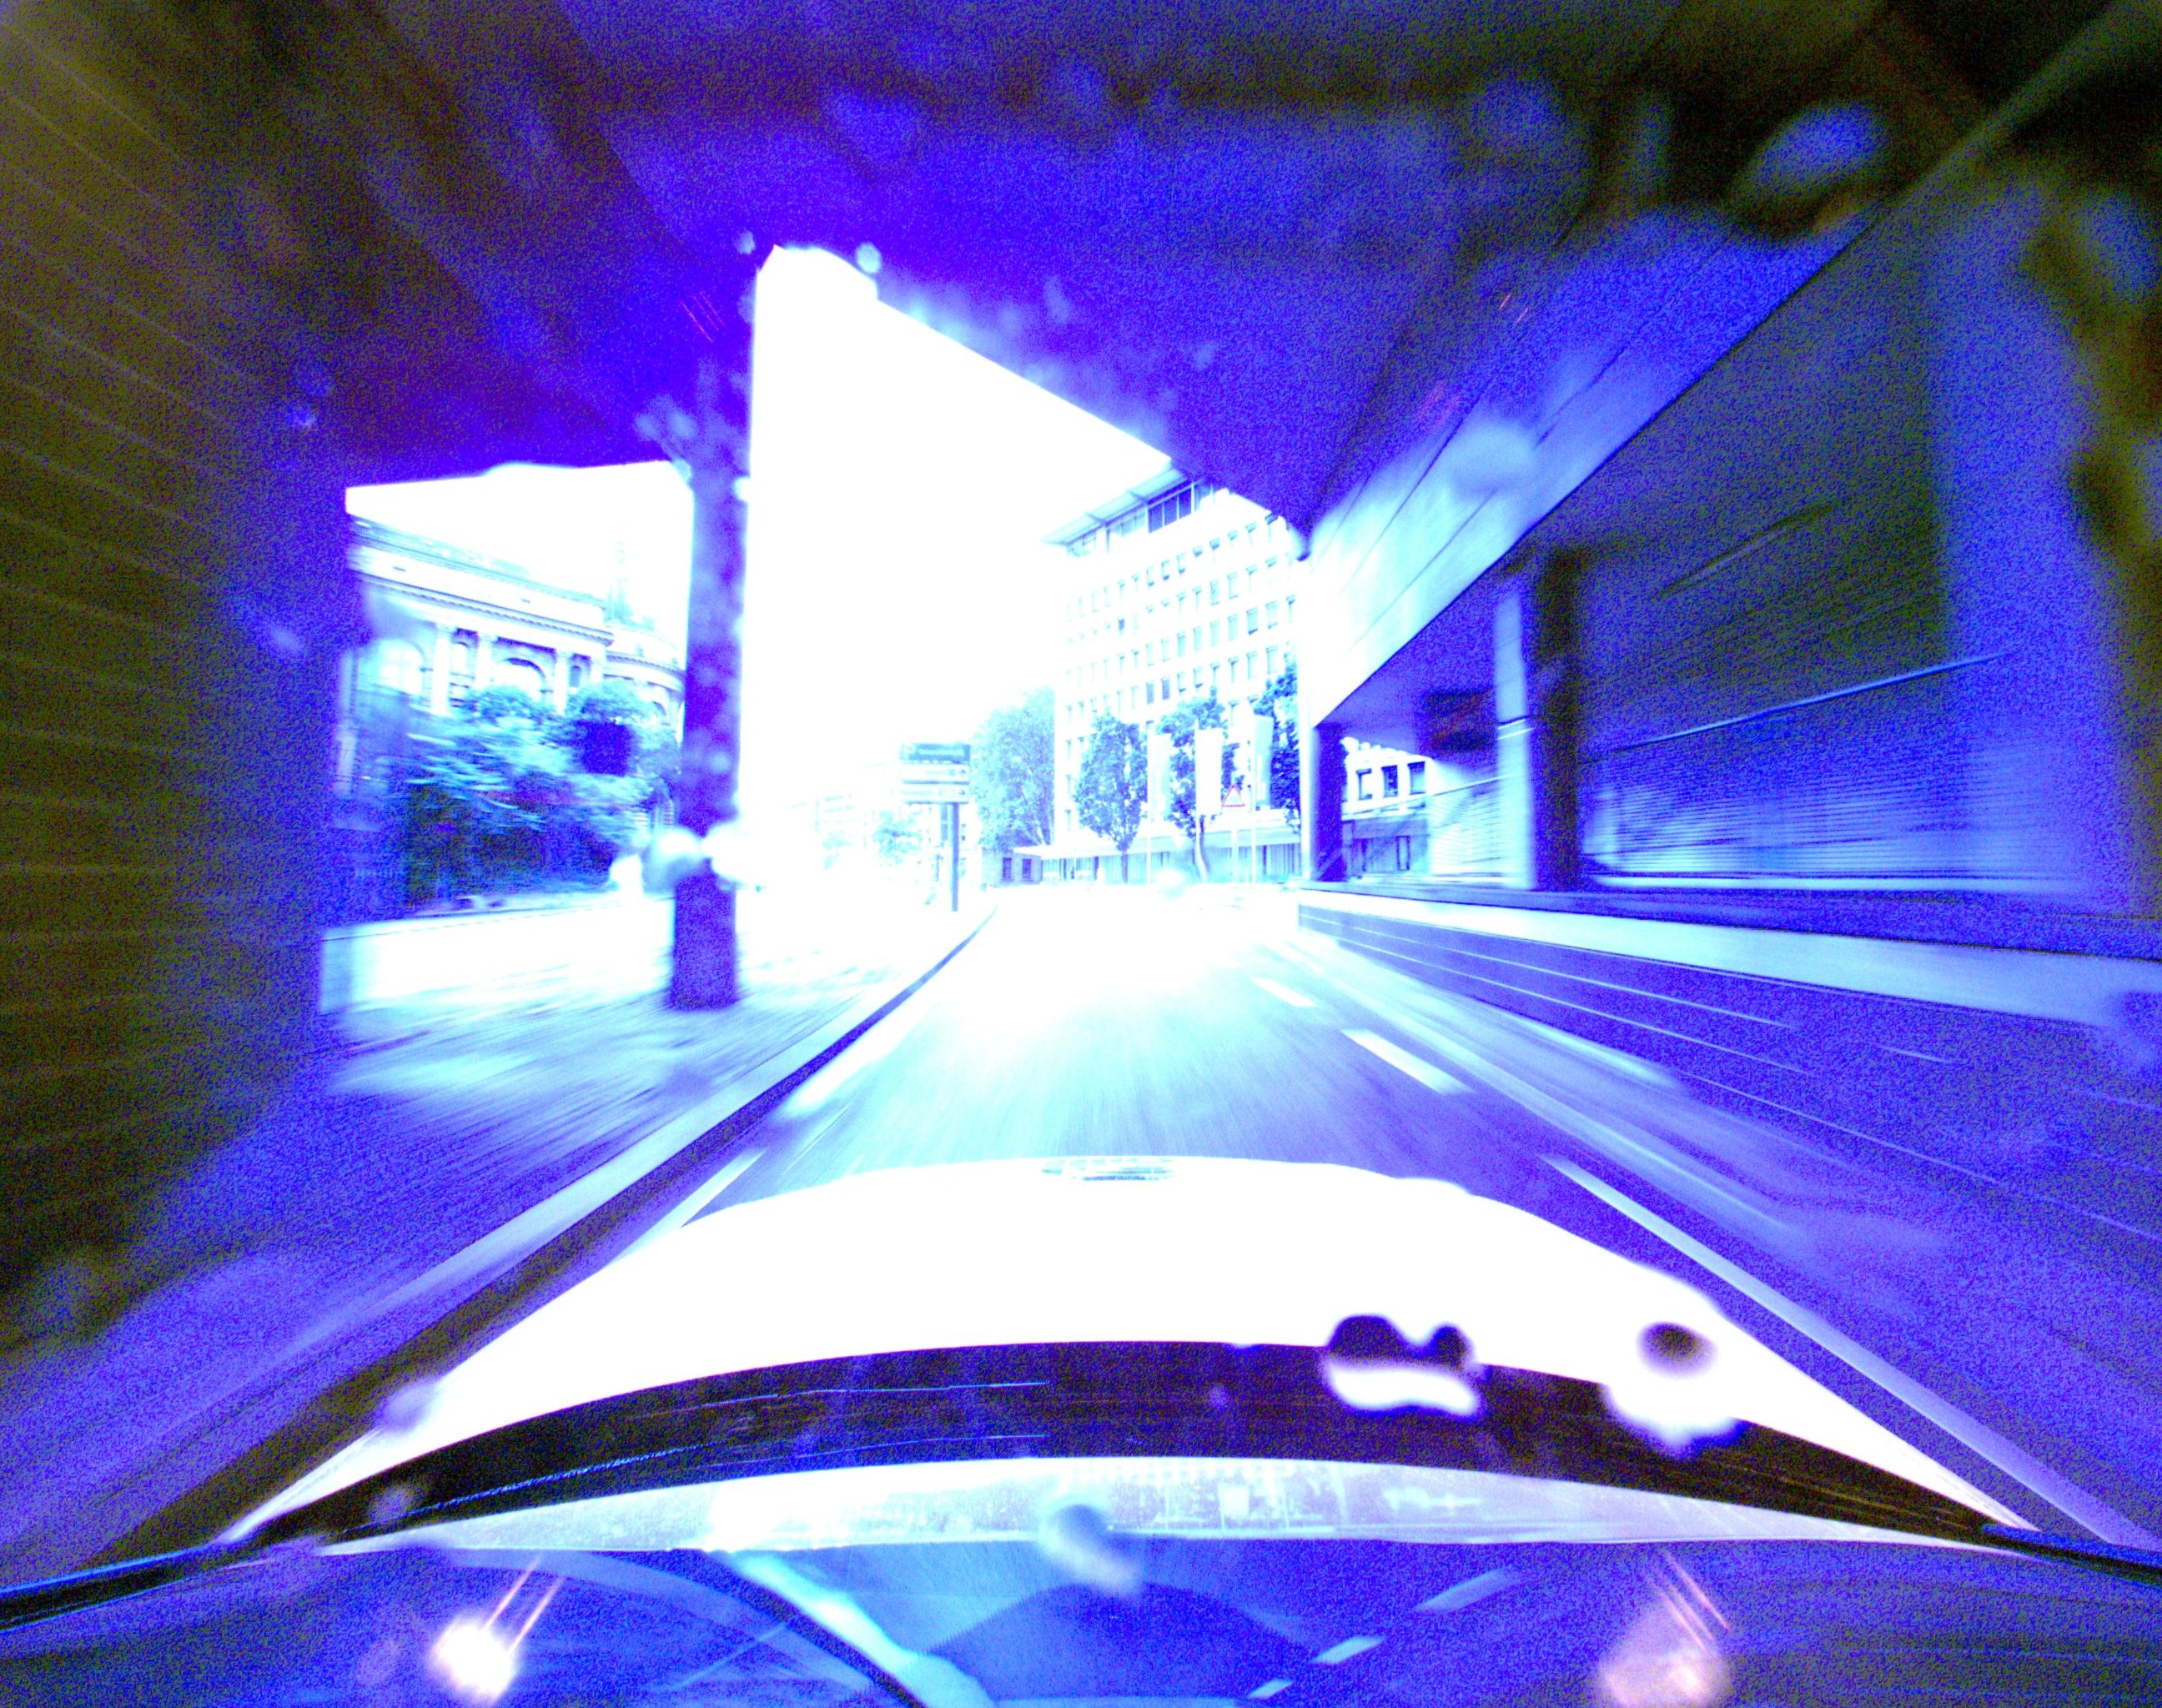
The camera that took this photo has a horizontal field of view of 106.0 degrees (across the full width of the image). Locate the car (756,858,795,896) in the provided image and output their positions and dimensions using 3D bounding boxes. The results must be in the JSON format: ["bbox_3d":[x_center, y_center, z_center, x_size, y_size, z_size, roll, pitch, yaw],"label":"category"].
[{"bbox_3d":[-16.691,1.222,44.339,1.844,1.921,4.607,-1,0,-22],"label":"car"}]

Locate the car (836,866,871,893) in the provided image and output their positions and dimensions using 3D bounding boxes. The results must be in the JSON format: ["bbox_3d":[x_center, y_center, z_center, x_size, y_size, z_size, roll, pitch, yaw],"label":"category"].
[{"bbox_3d":[-14.589,1.589,52.061,1.851,1.588,4.360,-1,0,-20],"label":"car"}]

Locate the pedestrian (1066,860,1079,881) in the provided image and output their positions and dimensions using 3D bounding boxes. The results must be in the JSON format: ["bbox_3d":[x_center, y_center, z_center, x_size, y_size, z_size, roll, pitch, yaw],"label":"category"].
[{"bbox_3d":[-0.722,1.423,68.802,0.785,1.772,0.853,3,-4,-36],"label":"pedestrian"}]
